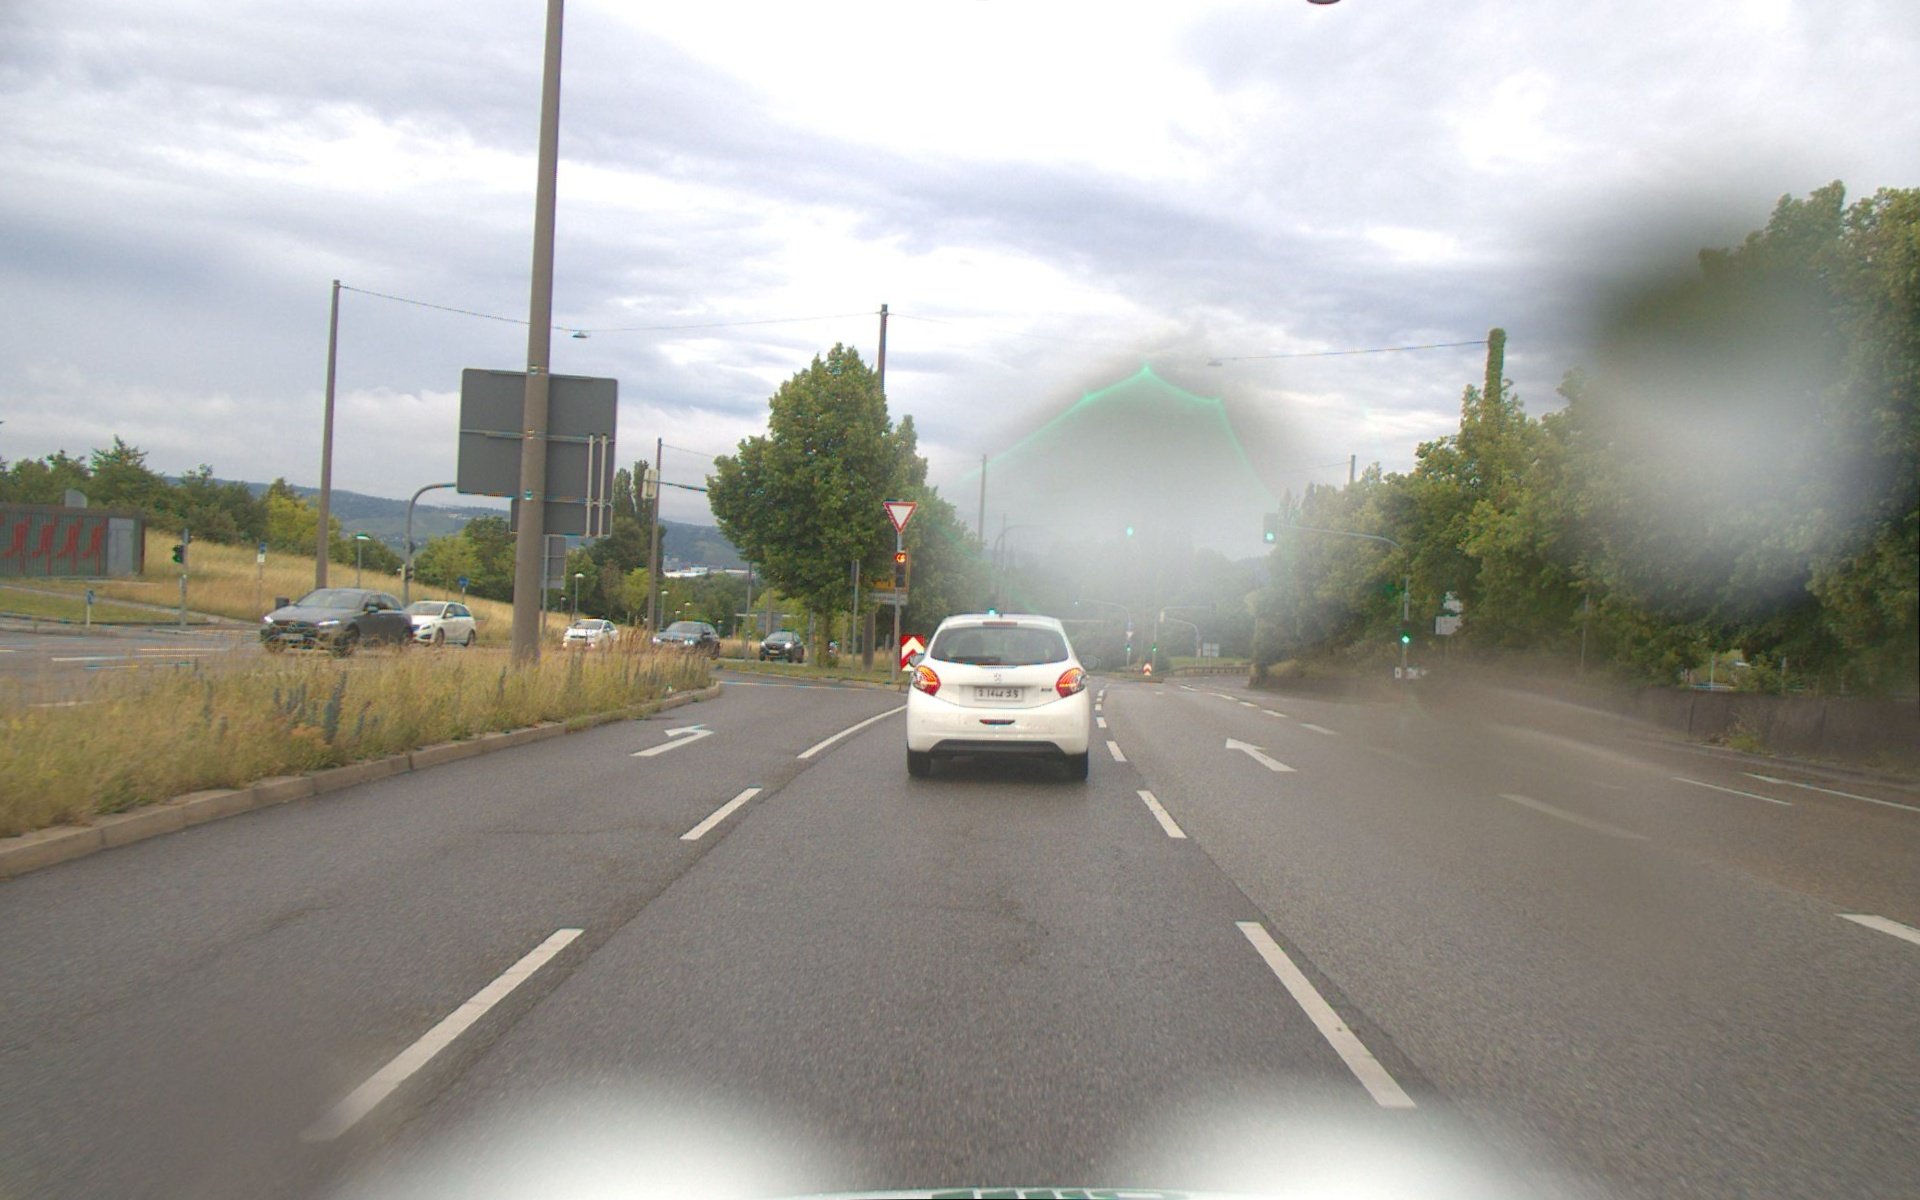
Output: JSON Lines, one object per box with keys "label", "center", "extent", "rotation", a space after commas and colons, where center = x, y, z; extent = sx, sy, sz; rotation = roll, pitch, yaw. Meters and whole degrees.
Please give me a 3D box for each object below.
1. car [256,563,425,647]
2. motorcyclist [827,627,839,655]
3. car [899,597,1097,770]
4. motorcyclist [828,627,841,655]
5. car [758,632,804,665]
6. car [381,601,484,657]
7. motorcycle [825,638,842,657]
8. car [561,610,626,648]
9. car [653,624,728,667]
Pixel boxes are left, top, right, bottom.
{"label": "car", "center": [-13.141, 0.155, 35.347], "extent": [1.730, 1.545, 4.002], "rotation": [3, -2, 5]}
{"label": "motorcyclist", "center": [-7.439, 2.393, 96.784], "extent": [0.570, 1.624, 0.644], "rotation": [2, -1, 4]}
{"label": "car", "center": [0.475, 0.771, 16.107], "extent": [1.672, 1.465, 3.692], "rotation": [1, -2, 5]}
{"label": "motorcyclist", "center": [-7.375, 2.424, 97.517], "extent": [0.599, 1.609, 0.582], "rotation": [2, -1, 4]}
{"label": "car", "center": [-9.053, 2.461, 83.870], "extent": [1.506, 1.530, 3.663], "rotation": [3, -2, 5]}
{"label": "car", "center": [-17.707, 1.013, 55.750], "extent": [1.730, 1.677, 4.179], "rotation": [3, -2, 5]}
{"label": "motorcycle", "center": [-7.428, 2.784, 97.172], "extent": [0.604, 1.068, 2.503], "rotation": [3, -1, 5]}
{"label": "car", "center": [-16.095, 1.292, 72.783], "extent": [1.616, 1.488, 3.776], "rotation": [3, -2, 5]}
{"label": "car", "center": [-10.369, 1.785, 63.905], "extent": [1.714, 1.530, 4.466], "rotation": [3, -2, 5]}
